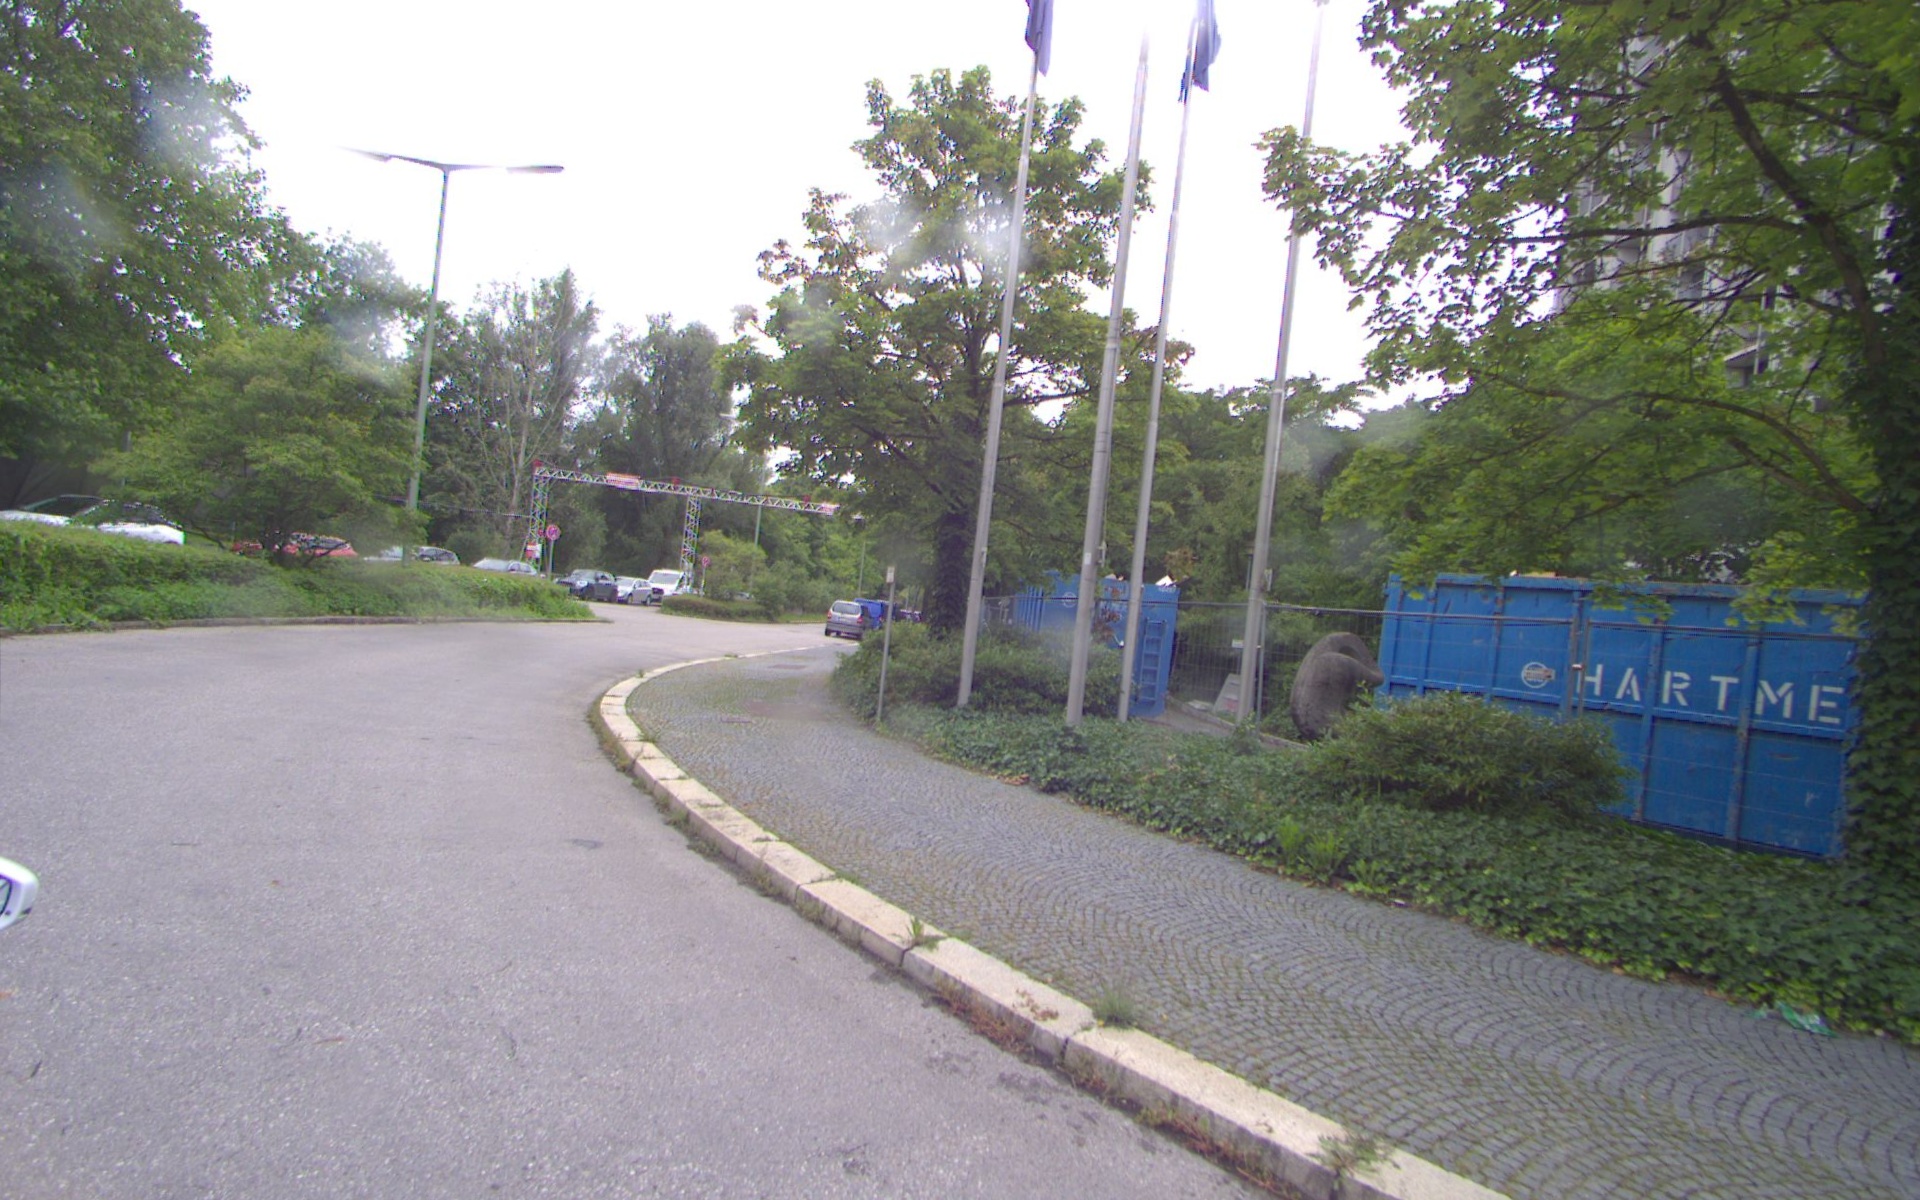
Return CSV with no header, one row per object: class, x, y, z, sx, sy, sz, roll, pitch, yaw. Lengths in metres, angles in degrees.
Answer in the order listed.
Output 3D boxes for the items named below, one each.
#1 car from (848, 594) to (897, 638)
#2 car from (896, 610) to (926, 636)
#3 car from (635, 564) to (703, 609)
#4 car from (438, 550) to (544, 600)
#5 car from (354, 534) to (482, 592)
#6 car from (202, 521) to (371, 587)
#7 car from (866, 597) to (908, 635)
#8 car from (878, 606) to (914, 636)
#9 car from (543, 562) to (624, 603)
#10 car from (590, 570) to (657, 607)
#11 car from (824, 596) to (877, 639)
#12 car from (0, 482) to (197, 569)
car,-4.378,0.848,50.981,1.701,1.913,4.329,7,-1,3
car,-3.492,1.694,73.000,1.701,1.631,4.001,7,-1,2
car,-17.221,-0.741,59.806,2.164,2.254,4.872,7,-1,3
car,-18.950,-0.962,40.860,1.962,1.593,4.003,7,-1,6
car,-19.186,-1.267,35.823,1.962,1.593,4.003,7,-1,6
car,-19.815,-1.295,29.837,1.962,1.426,4.003,7,-1,6
car,-4.158,0.935,57.820,1.701,1.913,4.329,7,-1,3
car,-4.000,1.344,63.283,1.701,1.631,4.001,7,-1,2
car,-18.215,-0.815,48.818,1.962,1.593,4.003,7,-1,6
car,-17.946,-0.590,53.855,1.962,1.593,4.002,7,-1,3
car,-4.908,0.797,45.582,1.701,1.631,4.001,7,-1,2
car,-20.499,-1.721,23.499,1.962,1.526,4.003,7,-1,6
